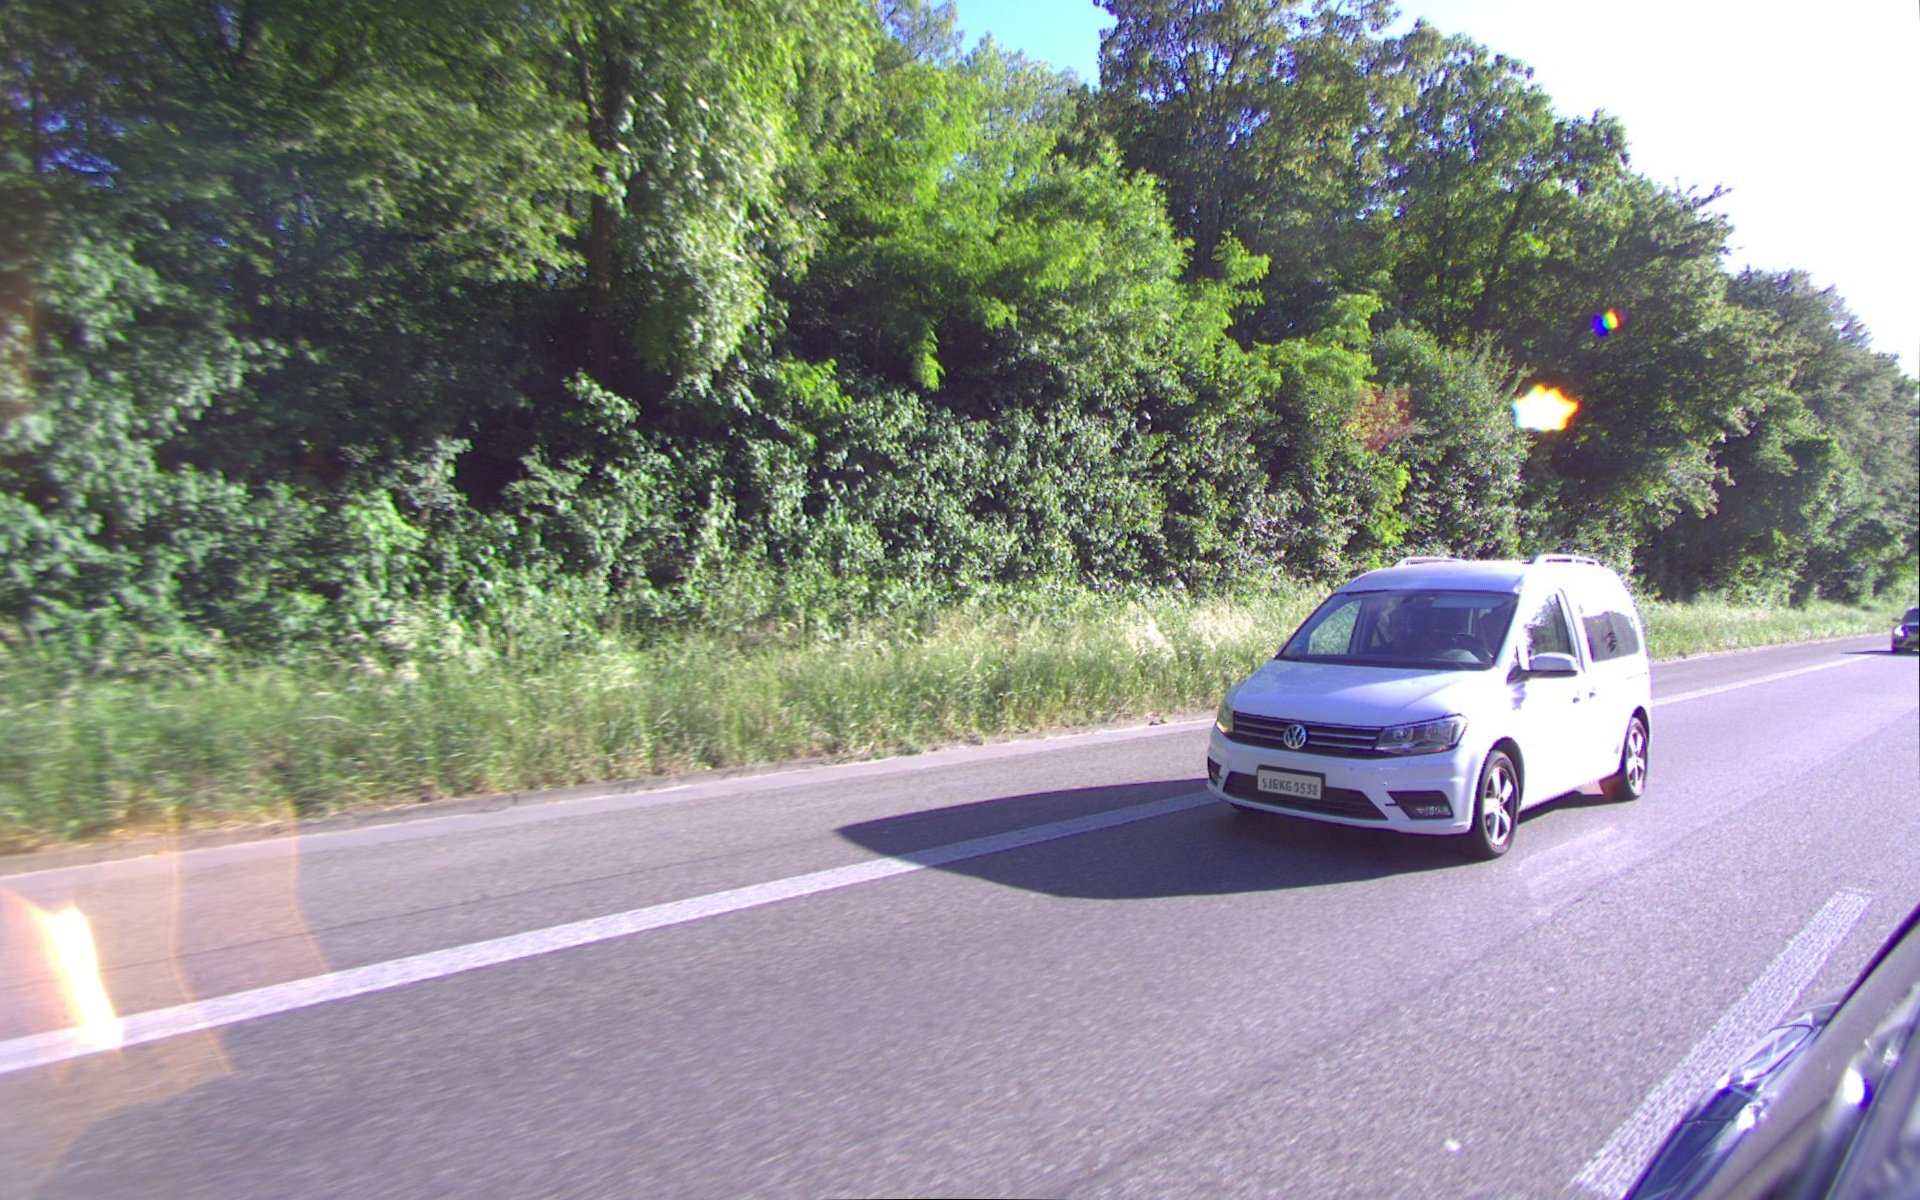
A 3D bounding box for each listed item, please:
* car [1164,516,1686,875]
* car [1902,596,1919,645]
[{"bbox_3d":[3.590,0.465,7.352,4.508,1.836,1.802,0,1,-42],"label":"car"},{"bbox_3d":[30.708,0.639,31.435,3.811,1.467,1.792,0,0,-42],"label":"car"}]
